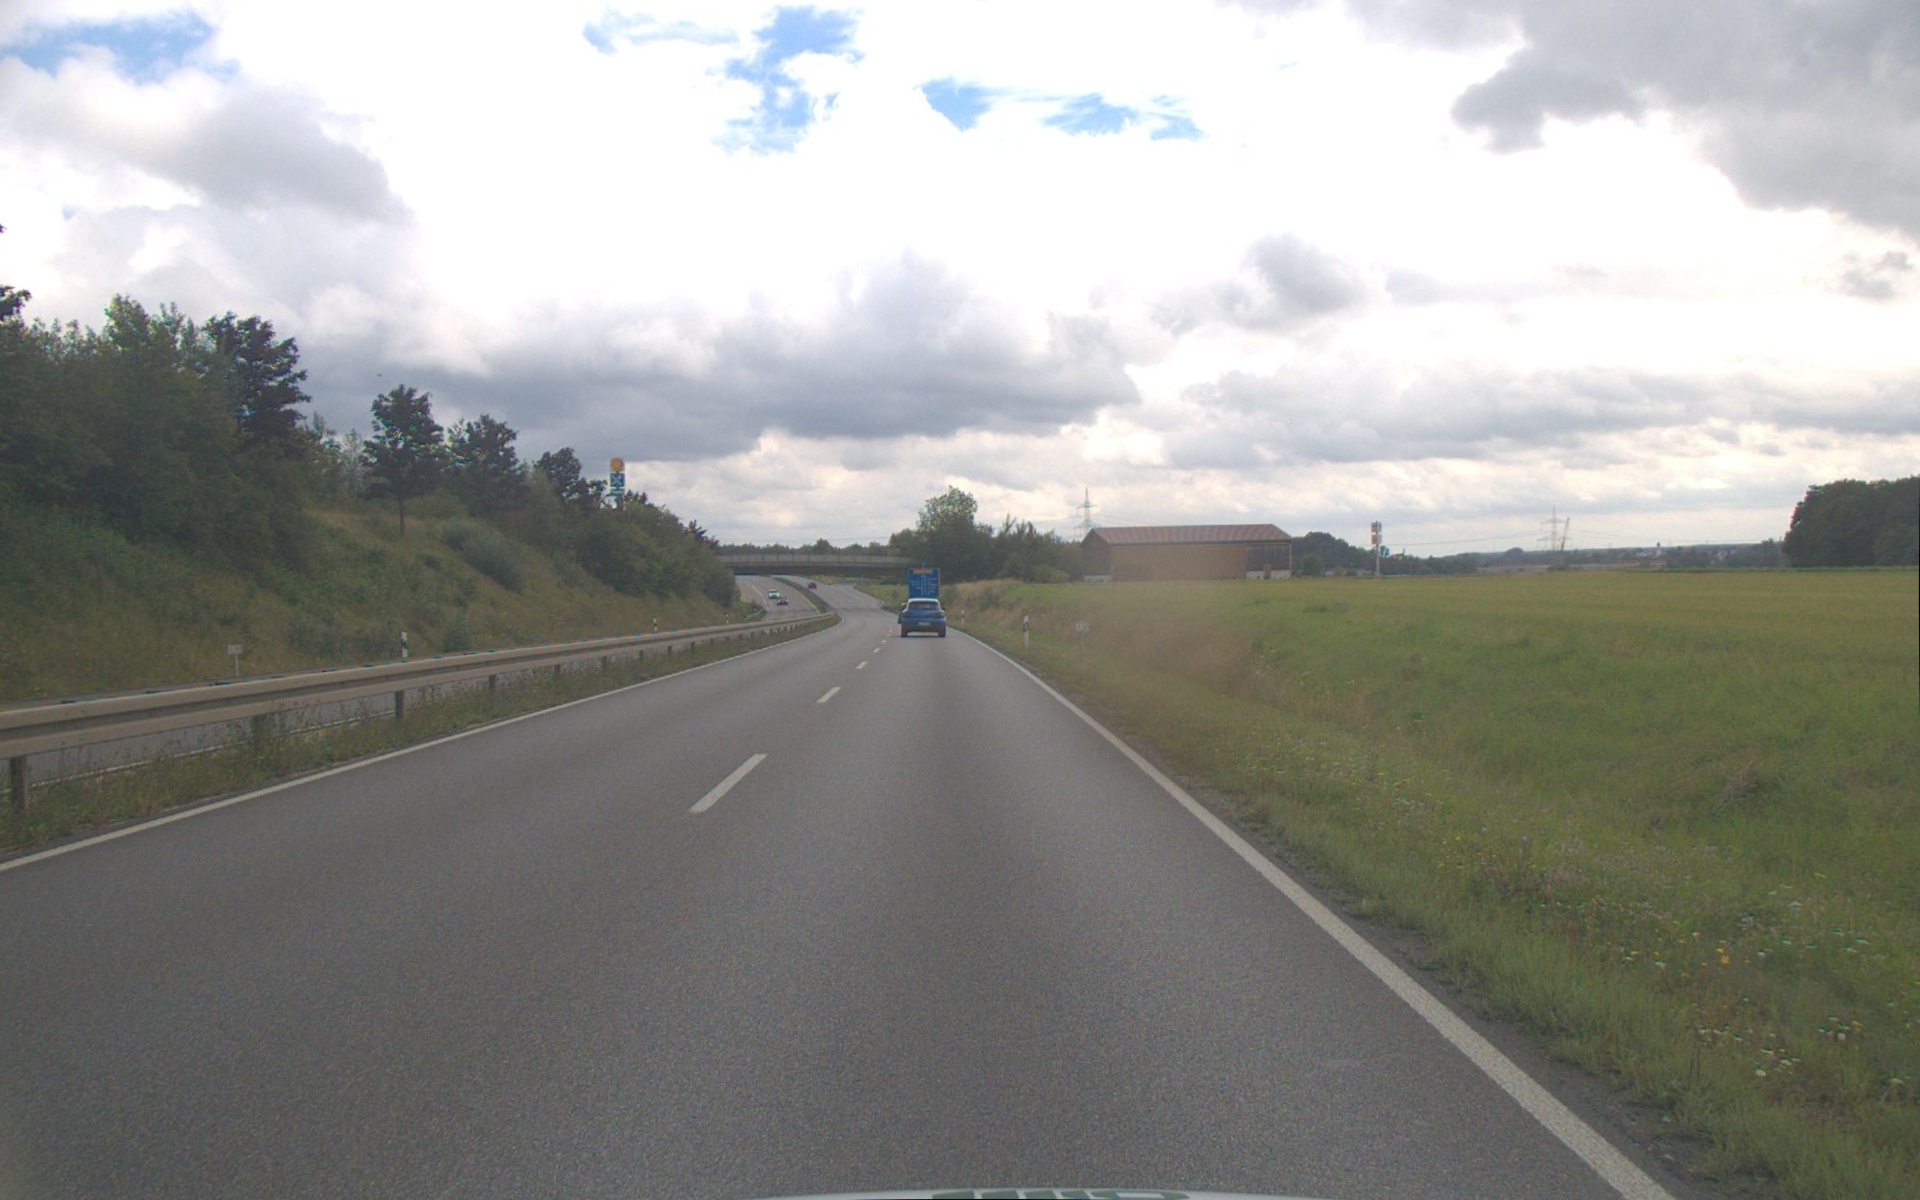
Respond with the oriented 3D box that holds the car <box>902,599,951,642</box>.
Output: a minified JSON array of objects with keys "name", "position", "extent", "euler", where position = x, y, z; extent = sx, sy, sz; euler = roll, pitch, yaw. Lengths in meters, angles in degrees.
[{"name":"car","position":[-1.476,0.869,71.008],"extent":[1.992,1.689,4.542],"euler":[0,1,-2]}]

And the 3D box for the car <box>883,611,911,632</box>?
[{"name":"car","position":[-4.814,1.614,125.496],"extent":[1.880,1.478,4.359],"euler":[-1,1,-5]}]
